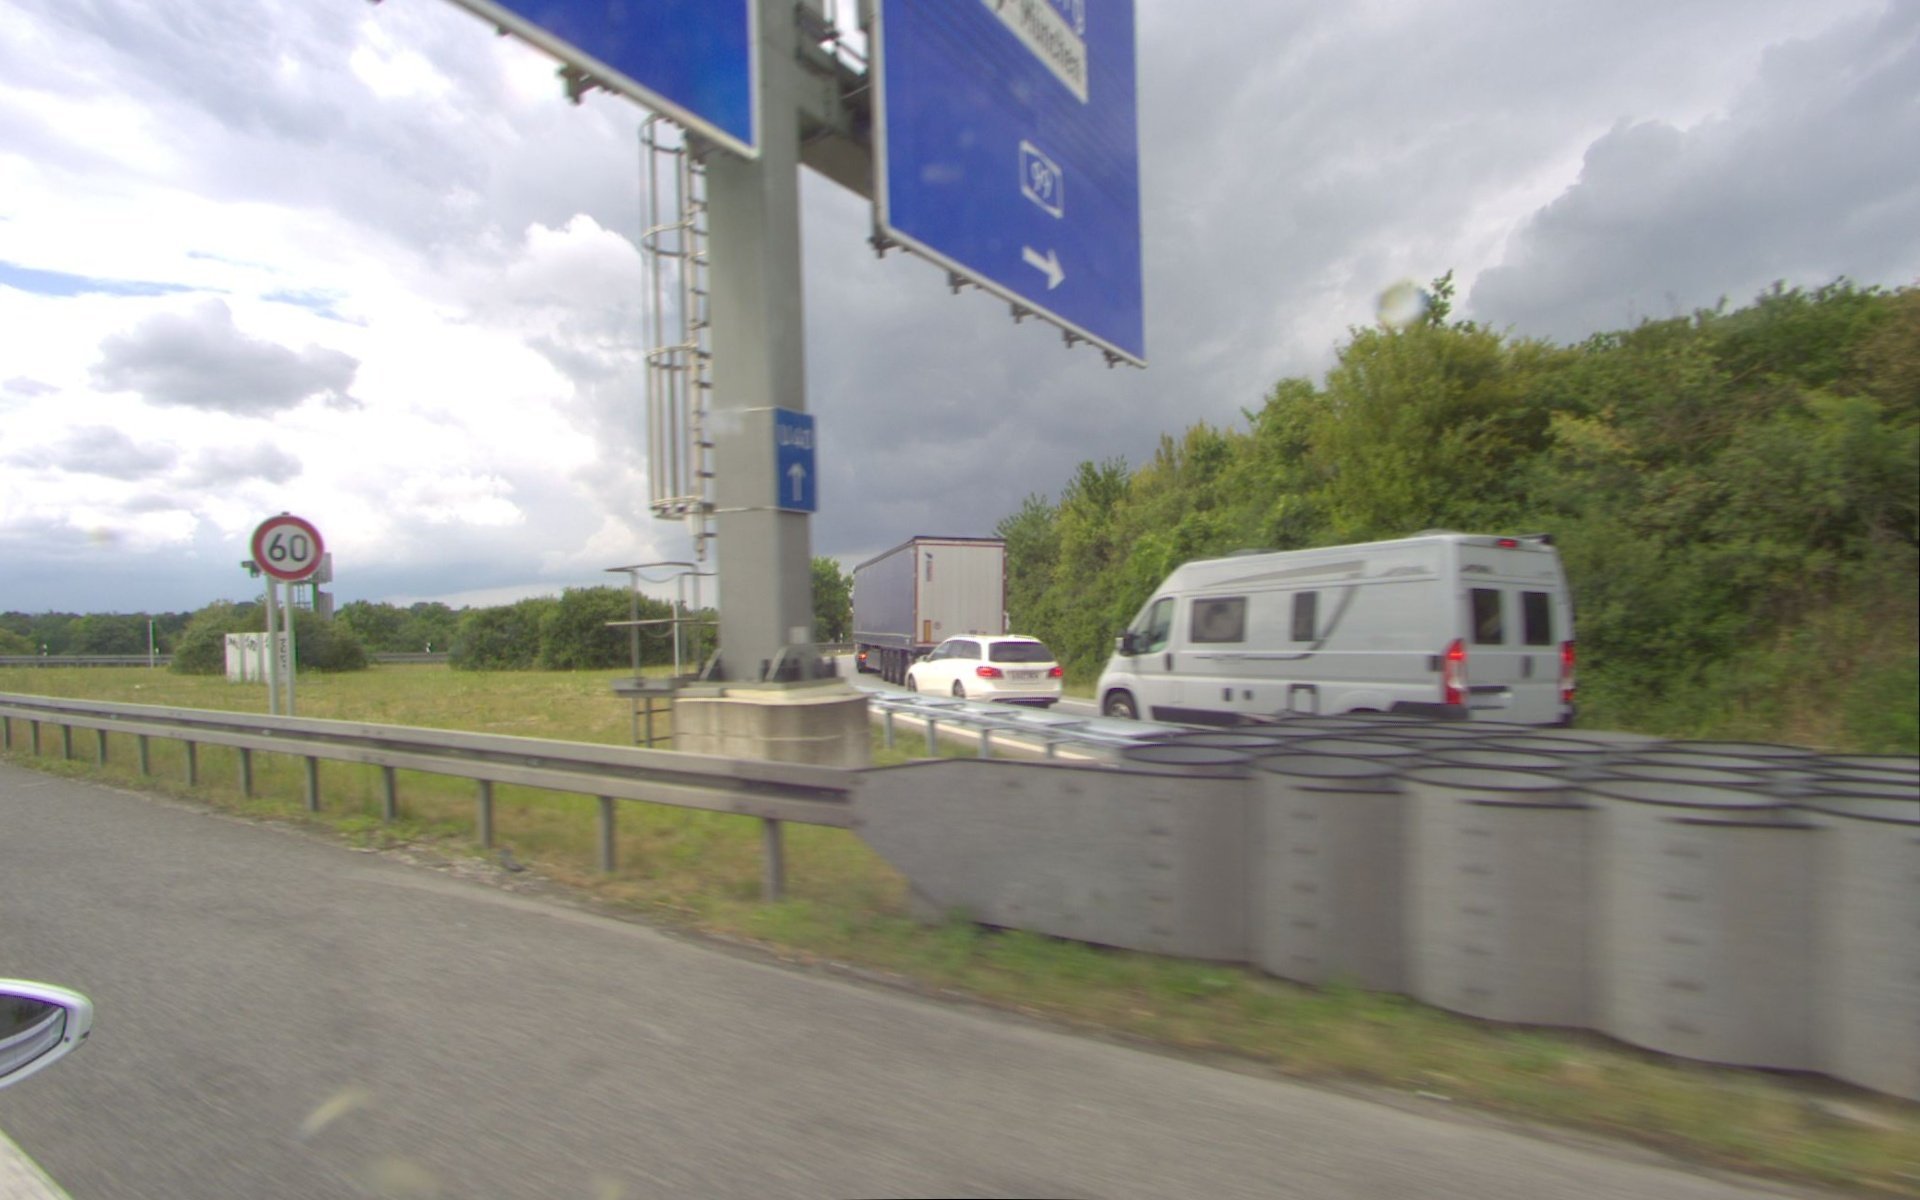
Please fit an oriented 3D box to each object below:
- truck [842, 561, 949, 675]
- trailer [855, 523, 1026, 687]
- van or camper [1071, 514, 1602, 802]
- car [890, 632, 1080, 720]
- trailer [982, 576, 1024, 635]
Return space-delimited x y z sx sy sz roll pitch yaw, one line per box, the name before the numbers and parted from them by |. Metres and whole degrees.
truck | -2.761 0.779 40.188 3.308 4.147 6.785 0 -2 -12
trailer | -1.162 0.350 32.727 3.279 4.246 13.025 0 -2 -12
van or camper | 4.062 0.610 12.316 2.267 2.601 6.132 0 -1 -29
car | 0.326 1.418 20.196 2.176 1.520 4.775 0 -2 -21
trailer | 4.741 0.830 112.765 3.940 6.164 12.102 0 -2 -1
